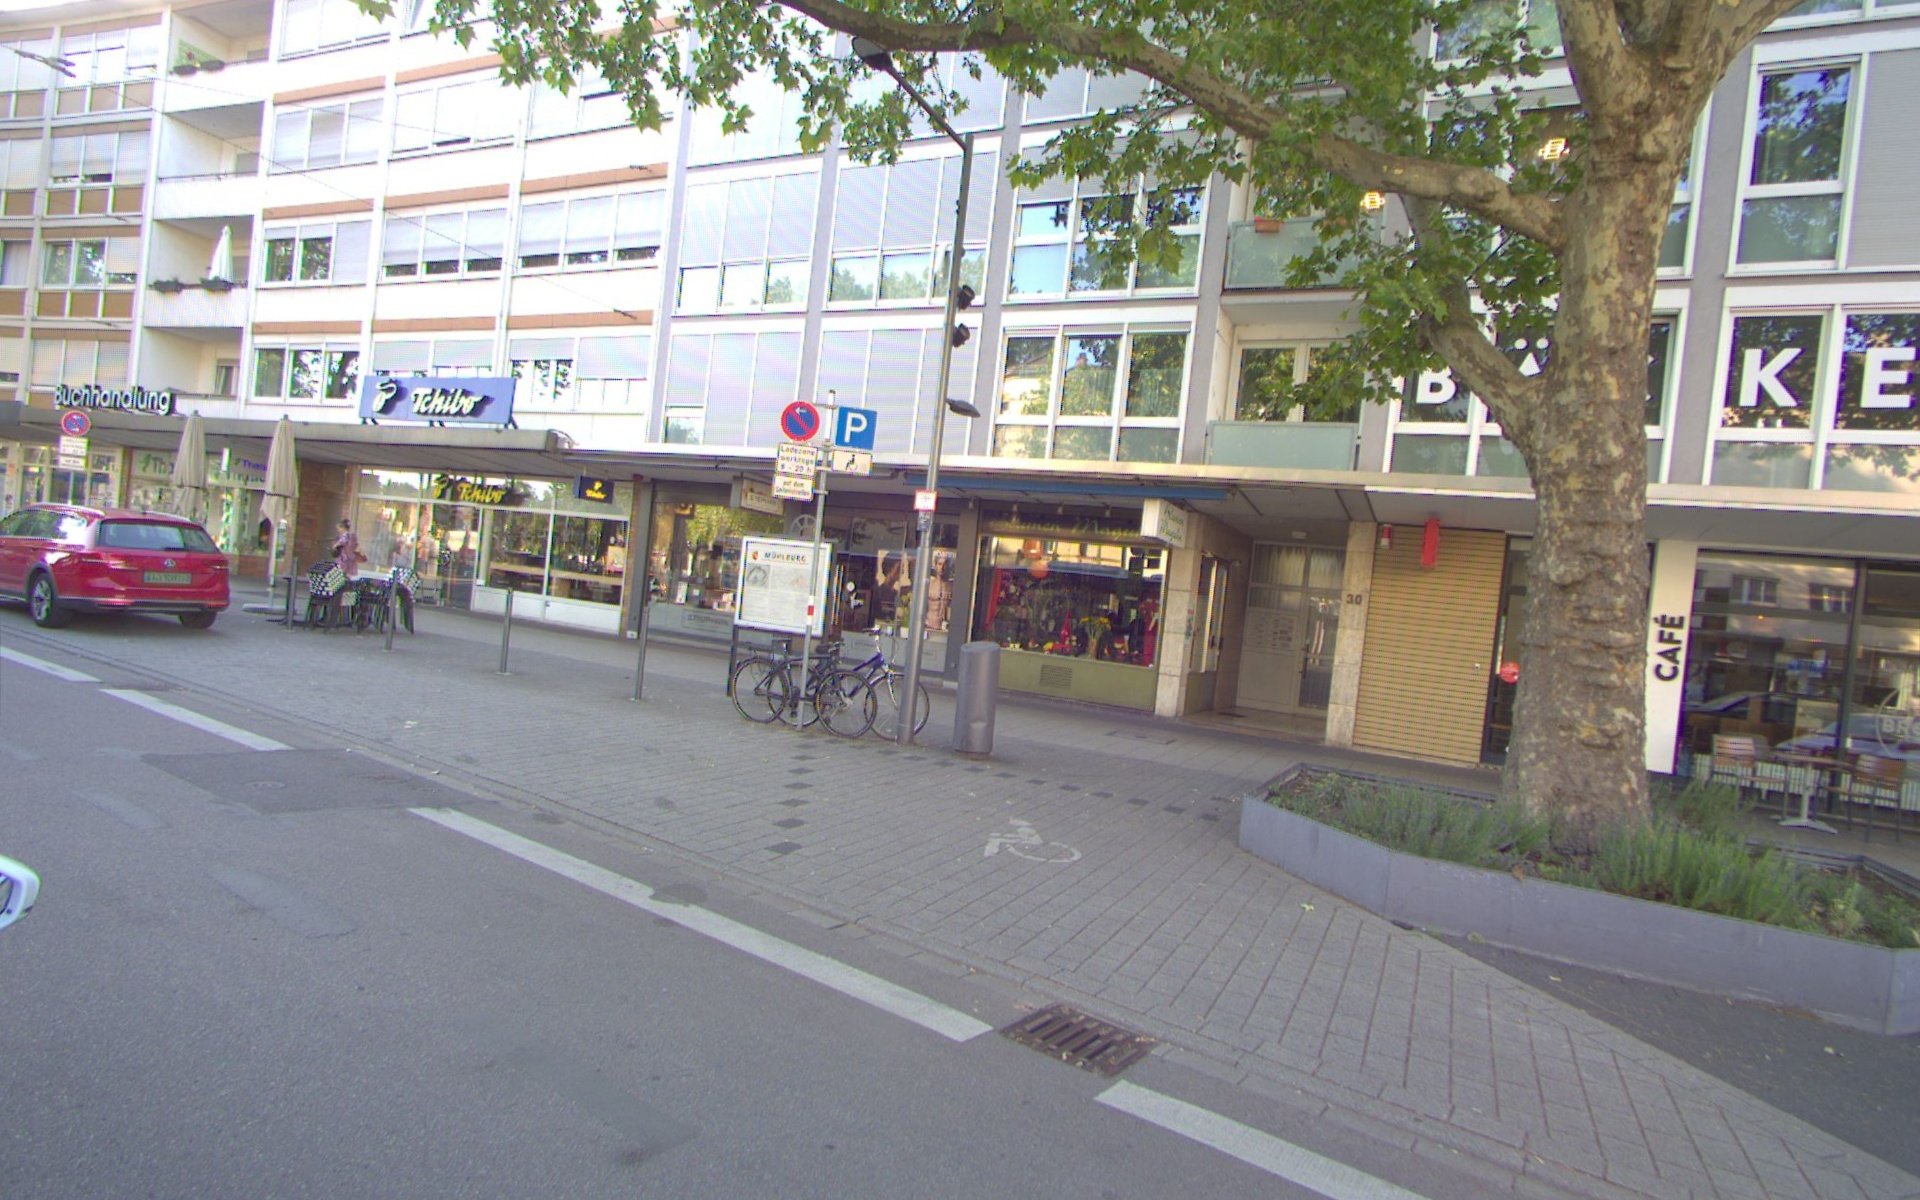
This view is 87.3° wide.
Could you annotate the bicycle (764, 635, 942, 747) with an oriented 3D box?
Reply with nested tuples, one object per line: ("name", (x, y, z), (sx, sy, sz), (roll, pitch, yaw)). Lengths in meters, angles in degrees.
("bicycle", (-1.123, 0.934, 10.556), (1.743, 0.931, 0.391), (6, 2, 12))

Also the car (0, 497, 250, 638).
("car", (-11.674, -0.496, 13.472), (4.229, 1.502, 1.772), (6, 1, 28))

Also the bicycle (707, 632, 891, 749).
("bicycle", (-1.640, 0.900, 10.237), (1.743, 0.951, 0.391), (6, 2, 12))

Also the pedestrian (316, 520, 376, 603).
("pedestrian", (-12.643, -0.791, 20.714), (0.776, 1.613, 0.651), (7, 3, 26))
